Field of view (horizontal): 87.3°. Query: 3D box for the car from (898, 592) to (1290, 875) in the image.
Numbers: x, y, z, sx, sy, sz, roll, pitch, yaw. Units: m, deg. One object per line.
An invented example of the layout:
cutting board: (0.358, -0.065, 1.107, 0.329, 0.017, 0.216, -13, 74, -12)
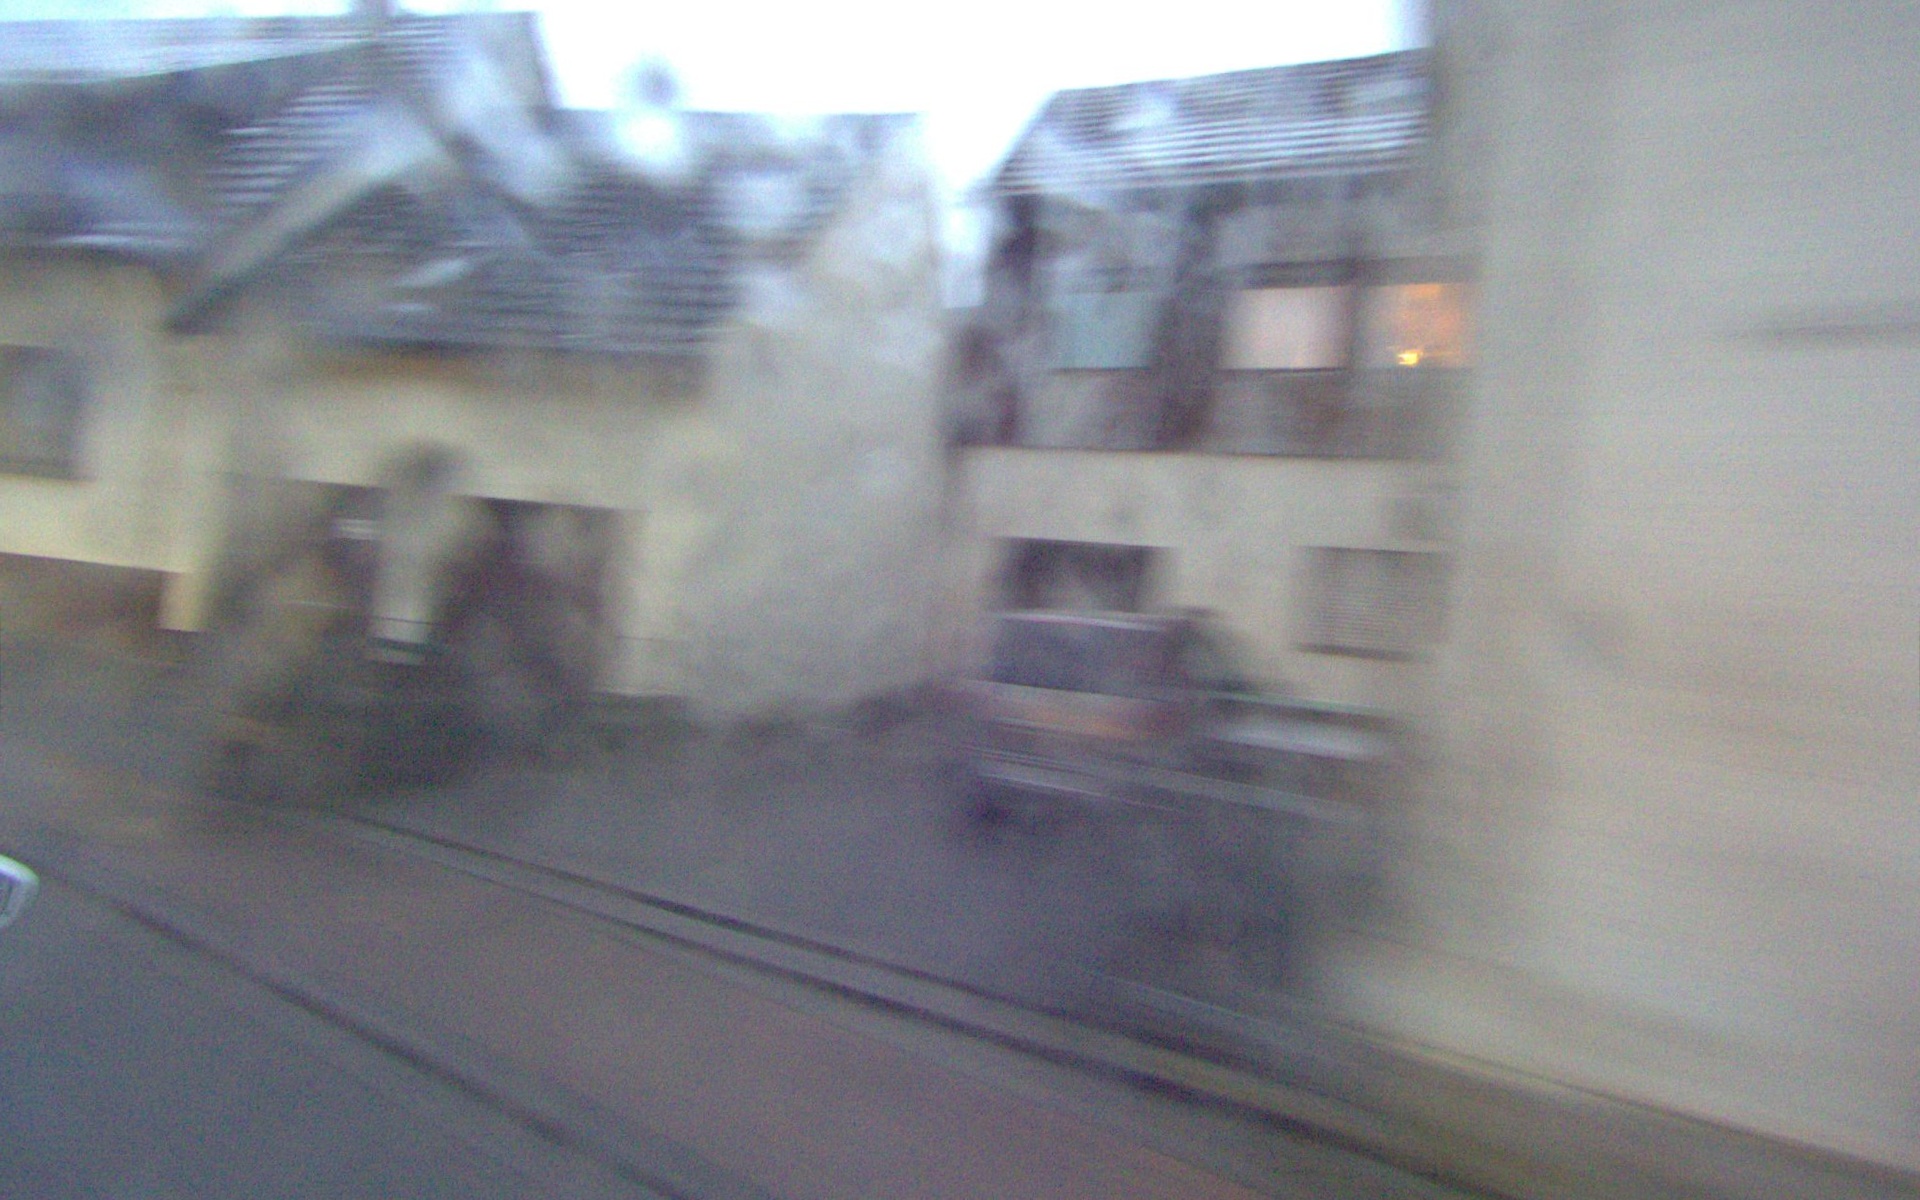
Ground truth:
car: (1.245, 0.895, 7.829, 1.622, 1.525, 3.483, 7, 0, 32)
